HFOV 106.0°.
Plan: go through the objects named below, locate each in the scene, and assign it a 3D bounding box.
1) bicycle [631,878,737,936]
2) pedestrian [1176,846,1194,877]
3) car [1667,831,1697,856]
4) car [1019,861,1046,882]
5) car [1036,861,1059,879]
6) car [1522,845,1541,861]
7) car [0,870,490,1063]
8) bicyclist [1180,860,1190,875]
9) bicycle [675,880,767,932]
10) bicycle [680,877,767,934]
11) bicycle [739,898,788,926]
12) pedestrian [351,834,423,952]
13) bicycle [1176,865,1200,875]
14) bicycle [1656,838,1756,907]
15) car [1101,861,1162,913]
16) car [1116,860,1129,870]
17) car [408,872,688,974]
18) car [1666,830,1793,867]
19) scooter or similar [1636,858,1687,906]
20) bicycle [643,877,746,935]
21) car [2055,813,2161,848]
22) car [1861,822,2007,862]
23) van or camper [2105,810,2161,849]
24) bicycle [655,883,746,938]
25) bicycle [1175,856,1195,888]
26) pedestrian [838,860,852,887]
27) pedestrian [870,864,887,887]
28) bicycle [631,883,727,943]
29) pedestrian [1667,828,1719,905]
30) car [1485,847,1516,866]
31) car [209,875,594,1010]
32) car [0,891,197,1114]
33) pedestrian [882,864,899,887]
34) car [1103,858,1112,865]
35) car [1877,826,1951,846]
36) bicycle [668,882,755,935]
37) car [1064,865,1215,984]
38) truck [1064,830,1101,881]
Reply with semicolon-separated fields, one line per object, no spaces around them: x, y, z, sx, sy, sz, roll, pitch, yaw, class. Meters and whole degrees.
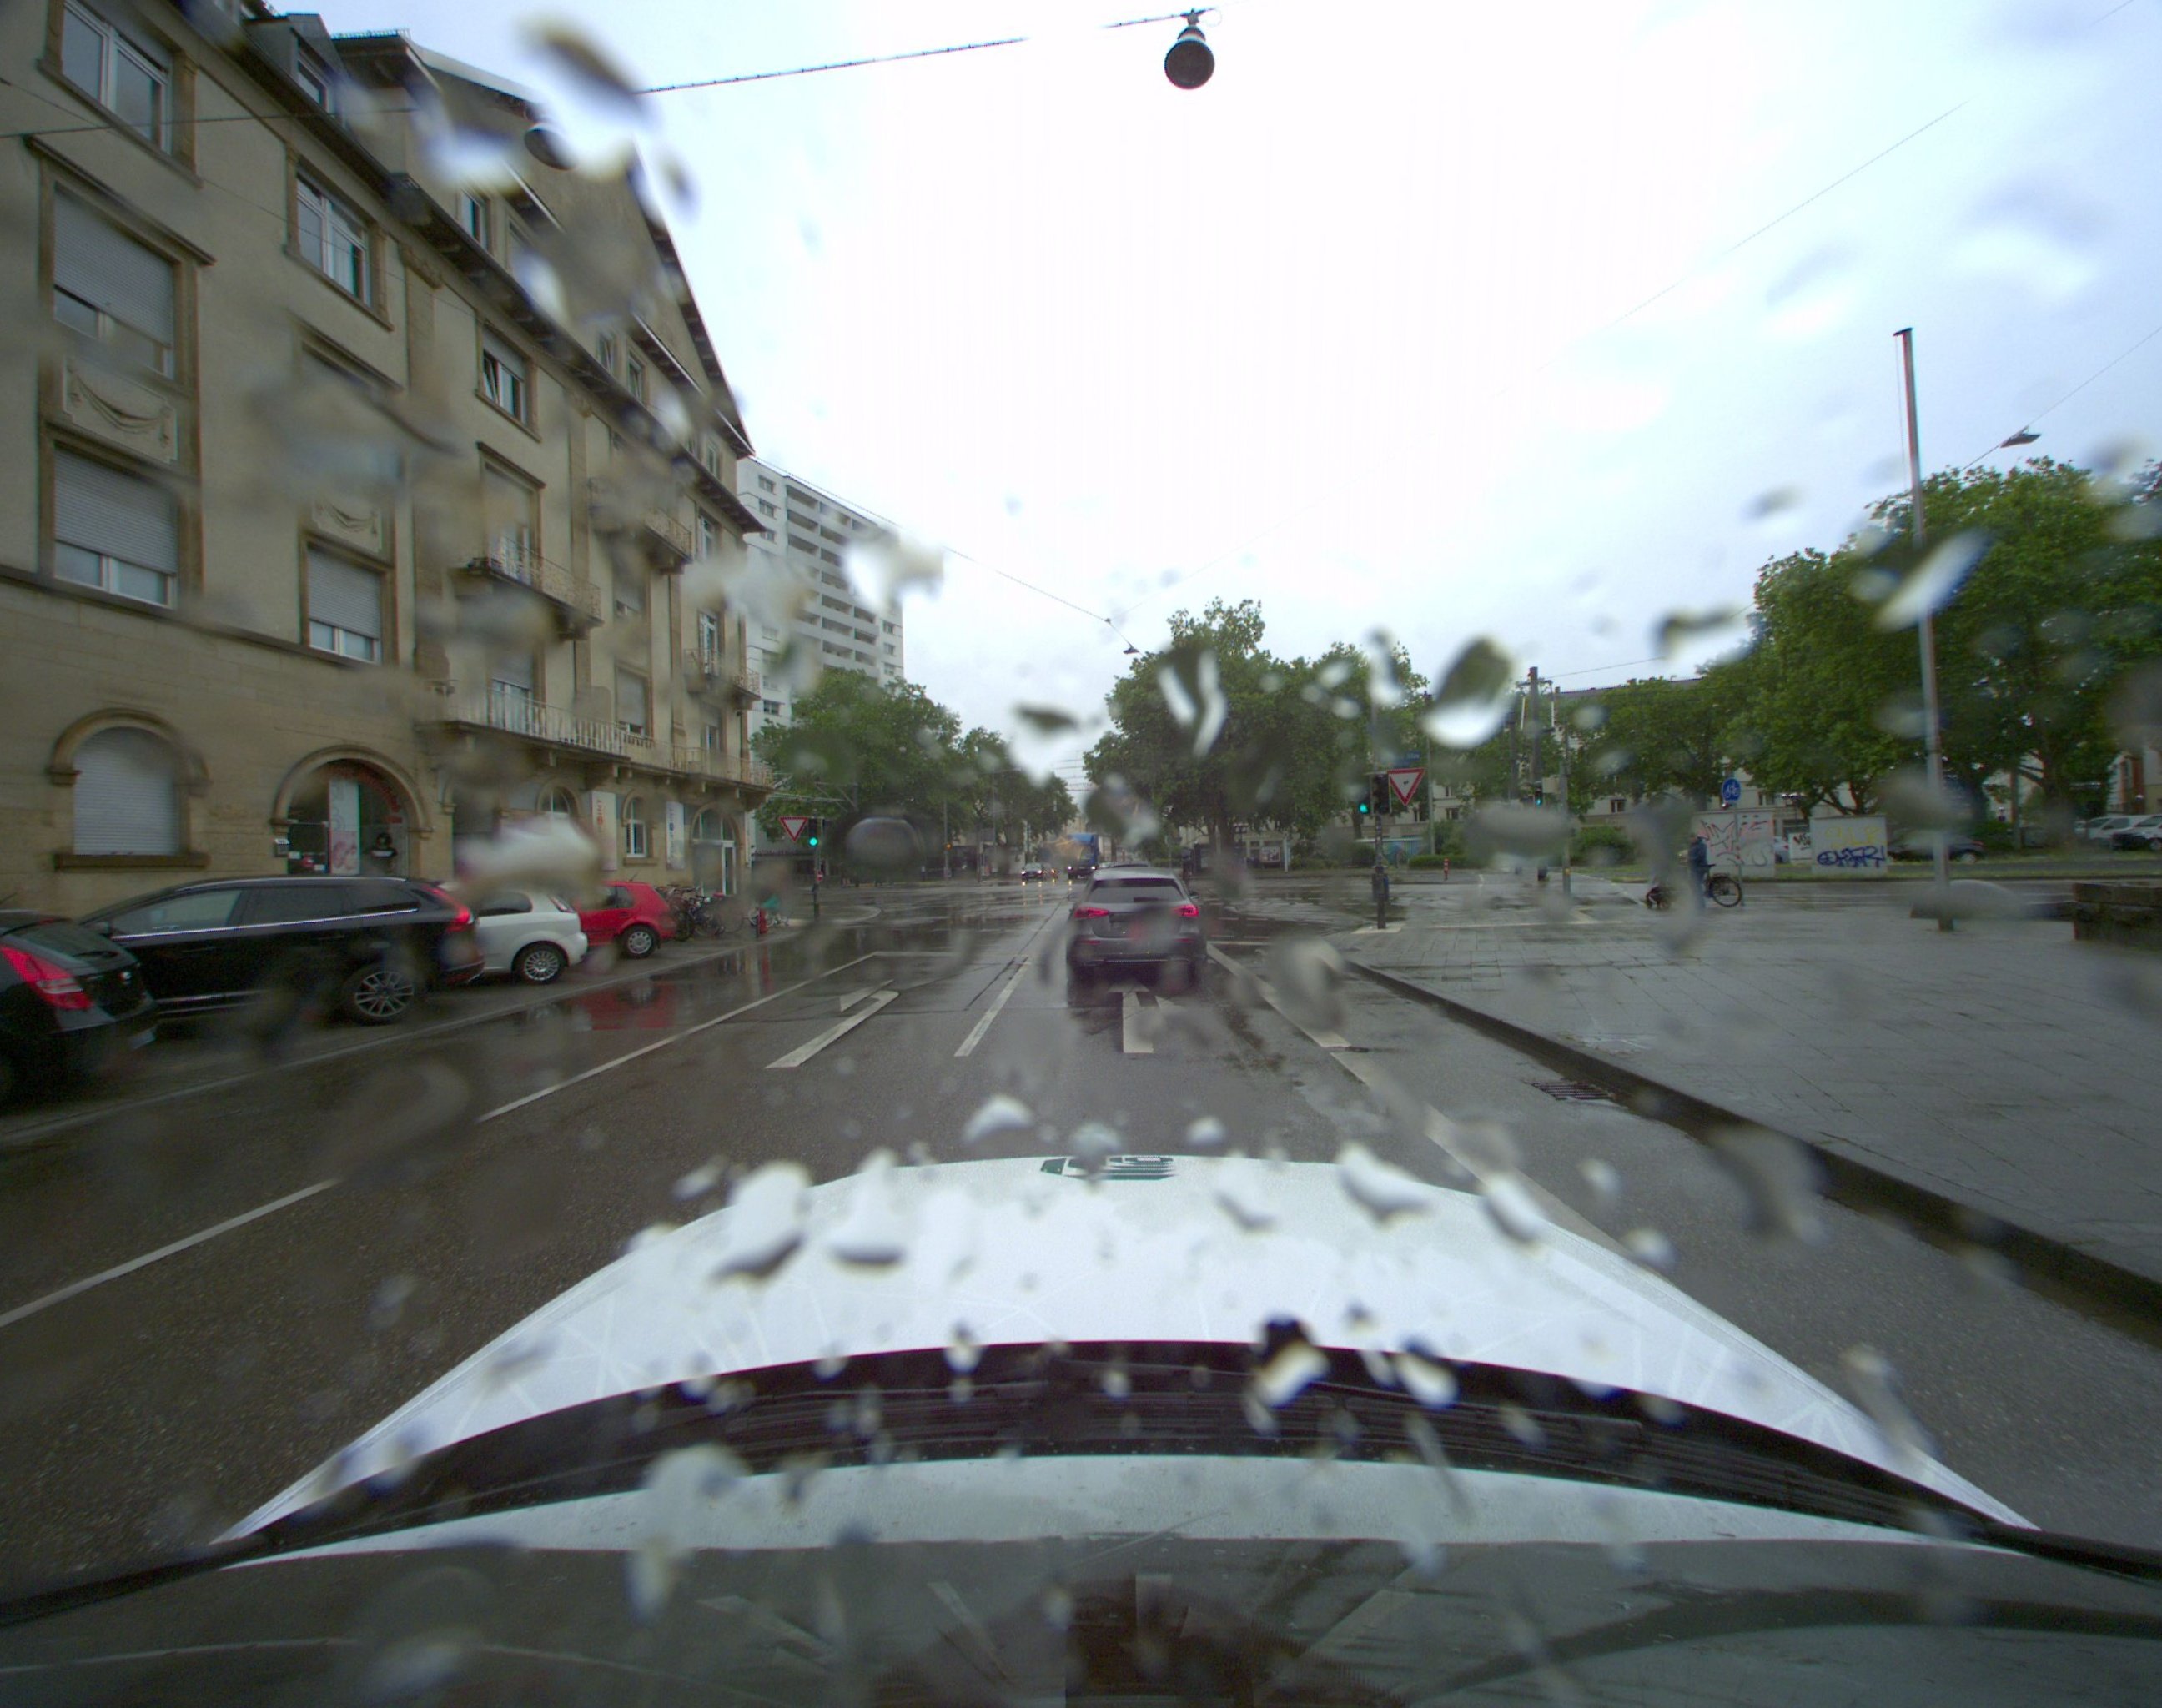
-10.175;1.352;20.917;2.335;1.346;0.639;-2;-1;-4;bicycle
4.822;0.350;37.819;0.740;1.398;1.049;-3;-1;8;pedestrian
58.050;-0.983;78.728;1.535;2.204;4.122;-3;-3;27;car
-3.909;1.400;65.941;1.737;1.546;3.780;-3;-1;1;car
-3.065;1.460;75.387;1.720;1.546;4.341;-3;-1;1;car
47.176;-0.090;85.336;1.535;1.467;3.386;-3;-3;26;car
-9.127;1.060;9.046;4.104;1.692;1.744;0;0;-38;car
14.492;1.890;113.322;0.940;1.869;1.136;-2;-5;-16;bicyclist
-8.758;1.266;19.858;1.974;1.185;0.475;1;-1;-2;bicycle
-8.932;1.290;20.364;1.967;1.330;0.438;-2;0;3;bicycle
-8.573;1.553;21.974;1.045;0.663;1.464;1;-2;-29;bicycle
-14.118;0.779;16.581;0.838;2.340;0.768;-2;-1;24;pedestrian
14.928;2.217;113.475;3.213;1.112;1.048;-2;-5;-17;bicycle
14.113;0.403;18.461;0.531;1.466;1.935;-2;0;-8;bicycle
1.465;0.929;24.504;1.601;1.372;4.002;-3;-1;2;car
7.031;1.928;139.175;1.987;1.574;4.000;-2;-1;1;car
-9.484;1.109;14.653;4.021;1.508;1.782;0;-1;-41;car
31.479;-0.263;39.679;4.499;1.599;1.802;-2;0;24;car
13.218;0.633;18.566;0.511;1.048;0.925;-2;0;4;scooter or similar
-10.225;1.363;21.580;2.335;1.346;0.639;-3;0;-4;bicycle
58.402;-1.336;45.856;4.210;1.779;1.748;-3;-1;22;car
38.183;-0.520;36.608;4.127;1.599;1.789;-2;0;24;car
55.816;-1.310;41.179;4.615;1.915;2.011;-2;0;22;van or camper
-8.763;1.298;18.784;1.804;1.185;0.475;2;-1;0;bicycle
4.830;0.806;37.702;0.745;1.377;2.714;-3;-1;9;bicycle
-16.629;1.360;57.483;0.683;1.838;0.632;-2;-1;-40;pedestrian
-14.893;1.585;59.956;0.785;1.648;0.820;-3;-1;17;pedestrian
-8.746;1.280;17.737;1.800;1.184;0.601;2;0;7;bicycle
13.703;0.281;18.242;0.600;1.663;0.690;-2;0;5;pedestrian
35.272;0.204;68.540;1.649;1.521;3.695;-3;-1;17;car
-9.427;1.114;11.706;4.013;1.533;1.685;0;0;-38;car
-9.049;1.103;5.891;3.326;1.525;1.682;0;0;-37;car
-13.705;1.536;58.669;0.828;1.648;0.759;-3;-1;17;pedestrian
6.949;1.904;214.985;1.880;1.836;4.006;-2;-1;6;car
69.292;-1.498;67.834;3.949;1.452;1.687;-3;-1;27;car
-8.747;1.278;19.318;1.804;1.185;0.468;1;-1;-1;bicycle
0.755;0.861;11.459;1.784;1.372;3.508;-1;-1;2;car
0.227;0.174;72.407;2.835;4.025;10.319;-3;-1;1;truck
